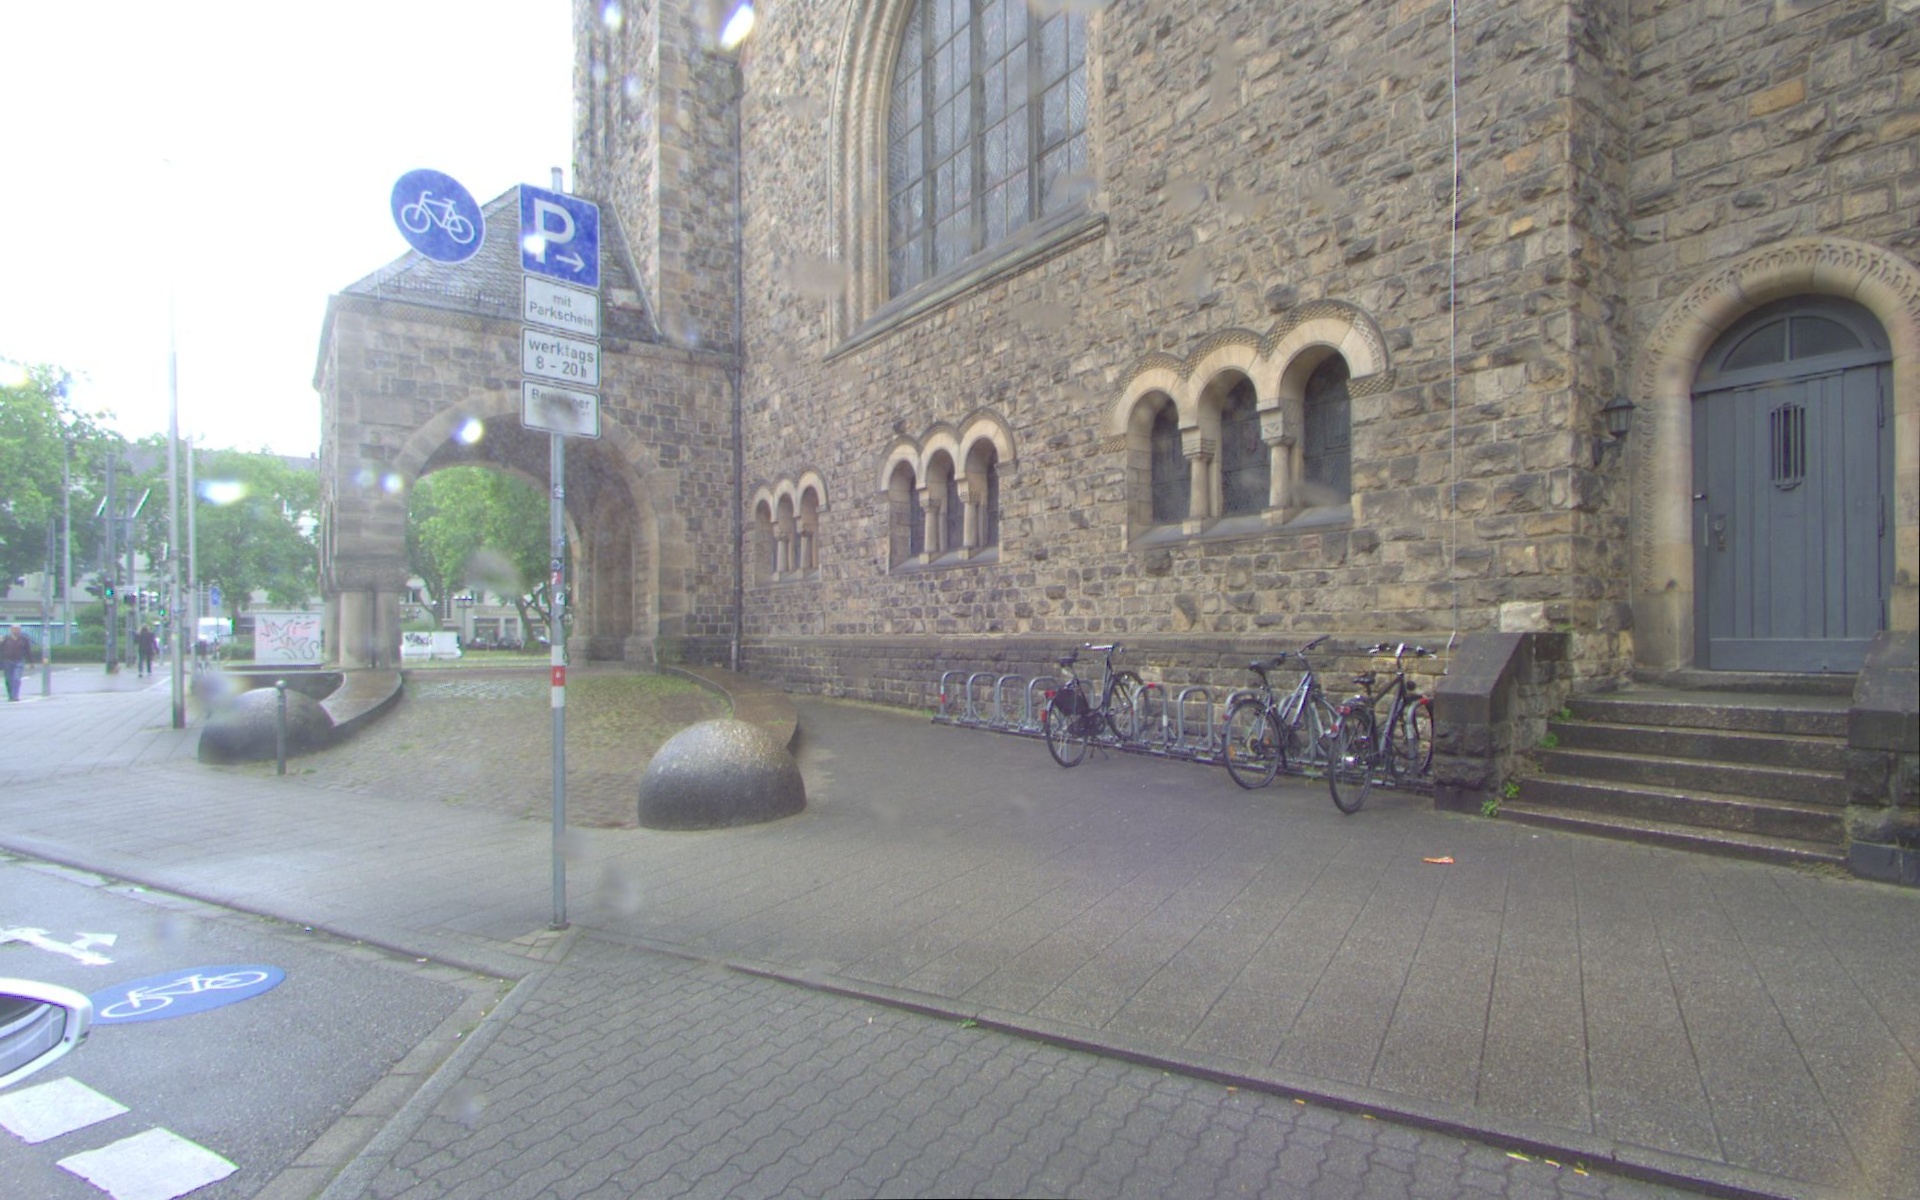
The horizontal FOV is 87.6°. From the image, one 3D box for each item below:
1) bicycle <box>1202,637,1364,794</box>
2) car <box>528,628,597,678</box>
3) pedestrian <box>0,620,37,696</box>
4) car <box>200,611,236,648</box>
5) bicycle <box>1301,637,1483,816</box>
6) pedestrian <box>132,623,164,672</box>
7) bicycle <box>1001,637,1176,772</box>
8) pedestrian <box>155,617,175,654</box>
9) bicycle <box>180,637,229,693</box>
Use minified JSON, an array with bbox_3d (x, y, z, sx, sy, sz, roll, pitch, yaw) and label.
[{"bbox_3d":[2.747,0.908,8.425,1.697,1.126,0.556,-2,0,-45],"label":"bicycle"},{"bbox_3d":[-12.679,1.635,31.840,1.389,1.498,3.200,1,-2,-34],"label":"car"},{"bbox_3d":[-22.638,1.376,23.988,0.780,1.782,0.936,0,0,-43],"label":"pedestrian"},{"bbox_3d":[-53.682,2.149,72.514,1.888,2.588,4.757,0,-1,-34],"label":"car"},{"bbox_3d":[3.204,0.849,7.318,1.971,1.068,0.507,-2,0,-45],"label":"bicycle"},{"bbox_3d":[-27.816,1.611,34.299,0.775,1.667,0.651,0,0,-34],"label":"pedestrian"},{"bbox_3d":[1.313,0.971,9.903,0.684,1.119,1.973,-1,0,43],"label":"bicycle"},{"bbox_3d":[-43.527,1.946,54.806,0.797,2.040,0.586,0,-1,-31],"label":"pedestrian"},{"bbox_3d":[-16.601,1.402,21.998,2.049,1.169,0.327,-1,-1,38],"label":"bicycle"}]
